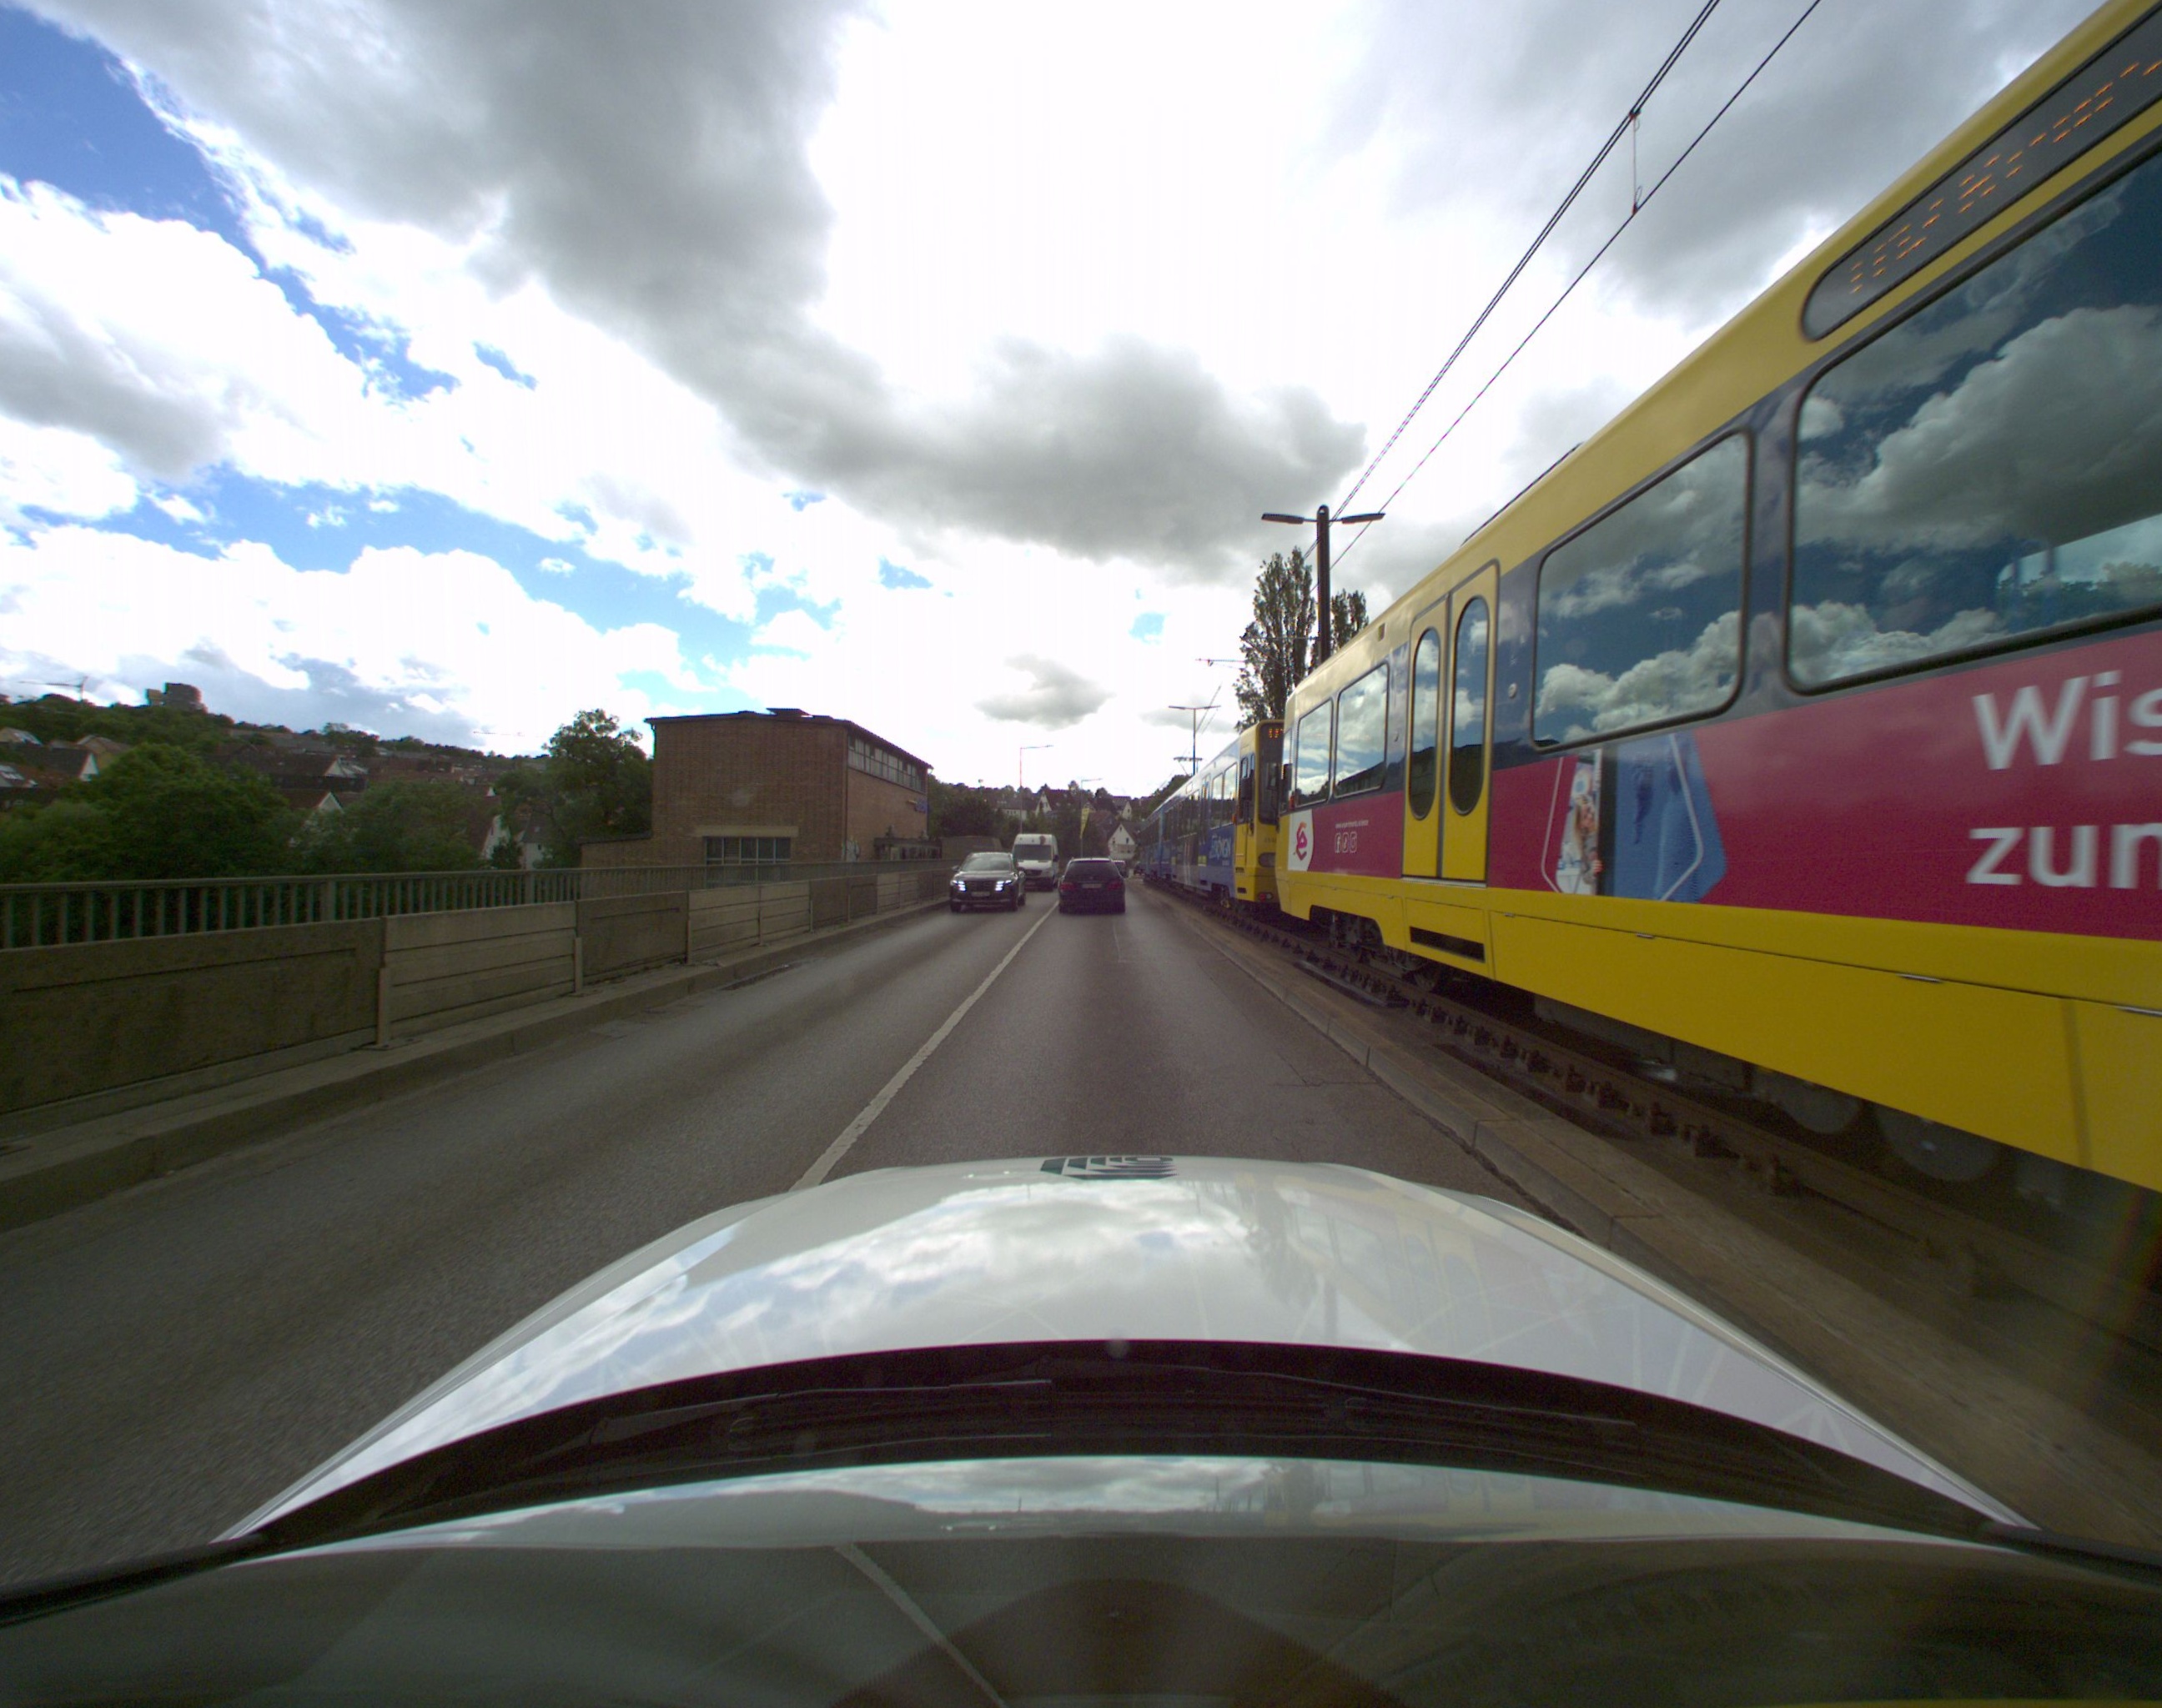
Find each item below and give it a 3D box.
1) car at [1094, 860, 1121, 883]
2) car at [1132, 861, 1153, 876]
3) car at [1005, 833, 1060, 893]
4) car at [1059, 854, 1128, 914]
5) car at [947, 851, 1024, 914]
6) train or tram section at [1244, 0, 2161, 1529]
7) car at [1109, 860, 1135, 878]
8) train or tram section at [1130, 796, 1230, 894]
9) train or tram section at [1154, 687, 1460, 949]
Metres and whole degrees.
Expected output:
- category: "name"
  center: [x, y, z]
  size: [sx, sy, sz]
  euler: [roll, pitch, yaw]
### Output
- category: "car"
  center: [1.886, 1.226, 59.039]
  size: [1.765, 1.555, 4.239]
  euler: [-1, 0, -1]
- category: "car"
  center: [6.511, 1.507, 85.928]
  size: [1.759, 1.555, 4.253]
  euler: [0, -1, 11]
- category: "car"
  center: [-2.169, 0.369, 38.467]
  size: [2.026, 2.561, 7.009]
  euler: [-1, 0, 1]
- category: "car"
  center: [0.340, 0.783, 23.176]
  size: [1.753, 1.516, 4.442]
  euler: [-1, 0, 0]
- category: "car"
  center: [-2.715, 0.760, 24.026]
  size: [1.709, 1.645, 4.000]
  euler: [-2, 0, 1]
- category: "train or tram section"
  center: [3.672, -0.393, 2.409]
  size: [2.820, 3.580, 18.668]
  euler: [-2, 0, 1]
- category: "car"
  center: [3.674, 1.342, 72.435]
  size: [1.782, 1.555, 4.395]
  euler: [-1, 0, 9]
- category: "train or tram section"
  center: [4.450, -0.265, 41.568]
  size: [2.784, 3.764, 19.890]
  euler: [1, -1, 0]
- category: "train or tram section"
  center: [4.134, -0.432, 21.642]
  size: [2.775, 3.656, 19.893]
  euler: [-2, -1, 1]
